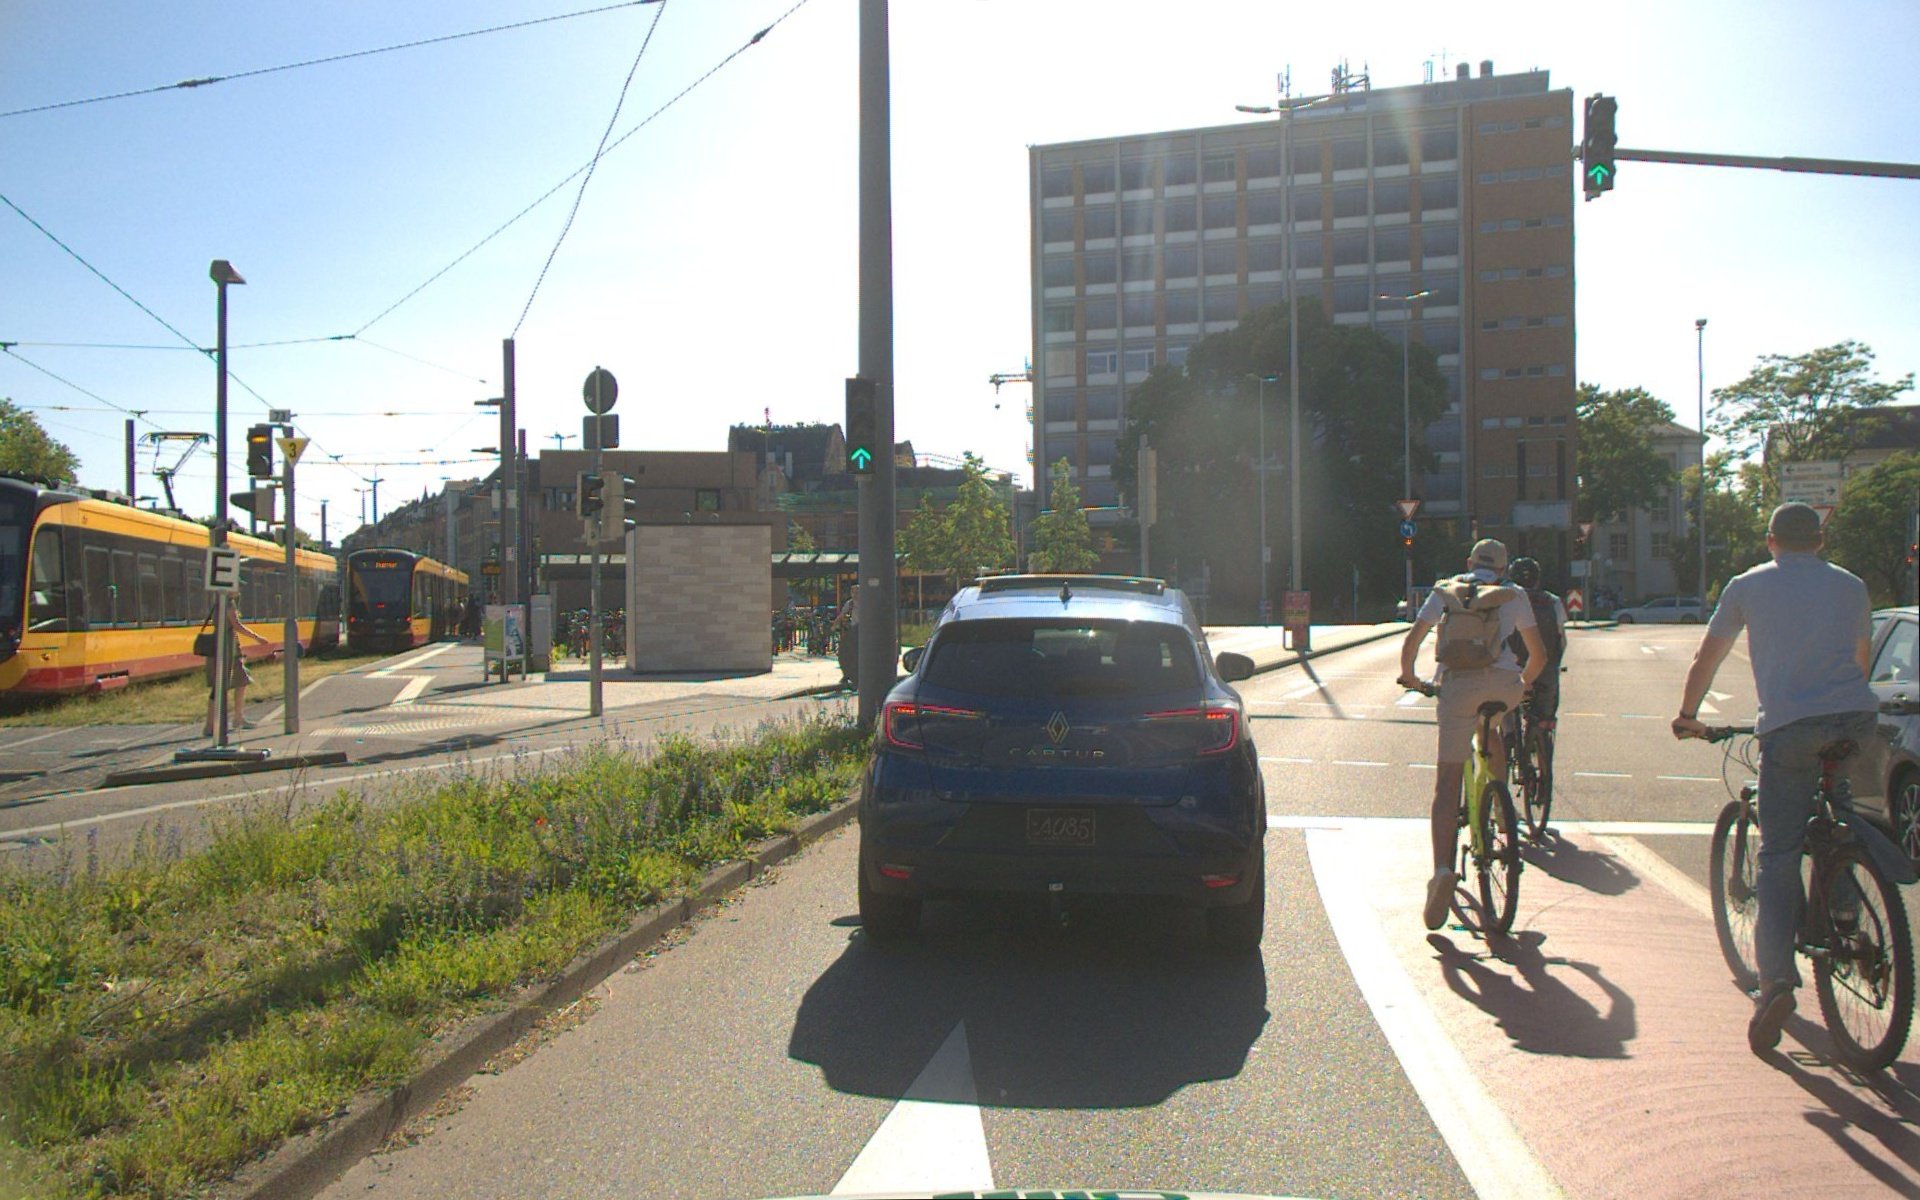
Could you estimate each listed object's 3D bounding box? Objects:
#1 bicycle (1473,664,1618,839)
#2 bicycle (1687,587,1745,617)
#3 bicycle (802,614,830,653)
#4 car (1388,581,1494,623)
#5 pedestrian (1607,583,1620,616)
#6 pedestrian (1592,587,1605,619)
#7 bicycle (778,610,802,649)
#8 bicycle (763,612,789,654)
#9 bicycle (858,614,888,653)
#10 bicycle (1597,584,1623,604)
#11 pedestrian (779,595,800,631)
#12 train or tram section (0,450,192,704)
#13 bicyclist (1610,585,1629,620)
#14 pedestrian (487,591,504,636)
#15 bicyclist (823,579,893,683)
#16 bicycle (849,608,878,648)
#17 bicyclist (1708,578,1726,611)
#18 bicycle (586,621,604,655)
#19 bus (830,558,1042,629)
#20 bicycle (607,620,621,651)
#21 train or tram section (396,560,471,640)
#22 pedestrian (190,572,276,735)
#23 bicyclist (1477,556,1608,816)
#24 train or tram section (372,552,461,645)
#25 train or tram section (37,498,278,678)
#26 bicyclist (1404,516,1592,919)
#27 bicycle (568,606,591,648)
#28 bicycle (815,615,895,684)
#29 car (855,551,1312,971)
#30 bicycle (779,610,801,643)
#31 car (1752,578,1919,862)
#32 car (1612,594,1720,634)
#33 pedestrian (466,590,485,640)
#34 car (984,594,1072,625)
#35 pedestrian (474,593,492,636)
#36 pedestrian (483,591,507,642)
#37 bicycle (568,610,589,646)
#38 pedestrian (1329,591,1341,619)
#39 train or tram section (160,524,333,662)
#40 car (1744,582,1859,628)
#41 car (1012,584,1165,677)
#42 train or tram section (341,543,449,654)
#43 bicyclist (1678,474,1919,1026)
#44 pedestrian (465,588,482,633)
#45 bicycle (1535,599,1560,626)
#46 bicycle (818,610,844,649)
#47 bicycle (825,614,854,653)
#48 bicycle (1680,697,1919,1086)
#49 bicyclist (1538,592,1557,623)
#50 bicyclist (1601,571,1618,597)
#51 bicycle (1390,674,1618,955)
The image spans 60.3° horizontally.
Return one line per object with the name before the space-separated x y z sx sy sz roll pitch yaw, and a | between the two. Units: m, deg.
bicycle | 3.898 0.966 11.130 0.707 0.976 1.885 1 0 13
bicycle | 39.871 0.097 87.278 2.745 1.568 0.883 0 -2 25
bicycle | -3.748 0.864 42.909 0.570 0.978 2.054 1 -1 -9
car | 20.883 0.082 71.806 4.177 1.596 1.812 -2 0 -22
pedestrian | 34.418 -0.022 87.154 0.547 1.699 0.474 -1 -2 36
pedestrian | 34.441 0.170 89.235 0.551 1.699 0.474 -1 -2 36
bicycle | -4.985 0.861 48.549 0.570 1.107 2.054 1 -1 -9
bicycle | -4.742 0.850 42.518 0.570 1.076 1.812 1 -1 -9
bicycle | -2.283 0.880 43.261 0.570 0.978 2.054 1 -1 -9
bicycle | 36.877 -0.362 93.813 1.655 1.112 0.602 -1 0 -39
pedestrian | -8.423 0.656 81.691 0.614 1.772 0.785 -1 -2 37
train or tram section | -15.578 -0.290 28.071 2.771 3.569 10.436 -1 0 -15
bicyclist | 36.023 0.144 90.308 0.840 1.879 0.849 0 -2 30
pedestrian | -19.855 0.590 70.722 0.621 1.889 0.701 1 -1 -11
bicyclist | -1.690 0.514 27.517 0.861 1.673 1.061 -1 -1 13
bicycle | -2.650 0.779 45.293 0.570 1.070 1.968 1 -1 -9
bicyclist | 39.918 -0.295 87.270 0.841 1.721 0.884 0 -2 24
bicycle | -10.461 1.092 47.394 0.415 0.954 1.300 1 -1 -15
bus | -1.417 -0.244 86.738 12.212 3.455 2.868 -1 -2 40
bicycle | -10.970 1.118 52.408 0.414 0.954 1.375 1 -1 -12
train or tram section | -25.028 0.012 78.984 2.823 3.569 10.502 0 0 -14
pedestrian | -8.712 0.614 19.862 0.887 1.882 0.759 -1 2 -22
bicyclist | 3.897 0.546 11.134 0.706 1.654 1.056 1 0 13
train or tram section | -22.472 -0.029 68.823 2.823 3.569 10.502 0 0 -14
train or tram section | -18.115 -0.215 38.153 2.769 3.569 10.573 0 0 -14
bicyclist | 2.521 0.520 7.845 0.649 1.778 1.006 0 0 6
bicycle | -10.501 0.753 45.676 0.556 1.113 2.023 1 -1 -11
bicycle | -1.725 0.806 27.549 0.756 1.099 2.037 -1 -1 13
car | 0.635 0.626 8.372 1.785 1.628 3.661 1 0 5
bicycle | -5.763 0.891 56.010 0.570 1.107 1.866 1 -1 -11
car | 6.436 0.719 10.360 1.719 1.568 3.662 3 0 11
car | 34.621 0.701 81.157 4.572 1.933 1.992 -1 -2 36
pedestrian | -18.365 0.567 62.746 0.593 1.889 0.792 1 -1 -12
car | 3.567 0.518 86.867 4.326 1.548 1.961 -1 -2 38
pedestrian | -21.077 0.631 73.062 0.688 1.889 0.632 1 -1 -12
pedestrian | -17.439 0.629 62.068 0.833 1.916 0.757 1 -2 -16
bicycle | -11.969 0.877 51.960 0.556 1.113 2.023 1 -1 -11
pedestrian | 22.370 0.296 98.636 0.551 1.699 0.474 -1 -2 36
train or tram section | -20.676 -0.157 48.637 2.768 3.569 11.170 0 0 -14
car | 38.413 0.238 75.508 4.564 2.049 1.996 0 -2 31
car | 2.417 0.519 30.169 1.762 1.417 4.095 -1 2 19
train or tram section | -19.893 -0.032 58.759 2.823 3.569 10.502 0 0 -14
bicyclist | 3.075 0.491 5.957 0.733 1.807 1.015 0 0 14
pedestrian | -20.685 0.461 70.275 0.623 1.889 0.699 1 -2 -20
bicycle | 34.466 0.730 97.040 0.865 1.568 2.804 -1 -2 31
bicycle | -3.801 0.870 48.639 0.570 1.107 2.054 1 -1 -9
bicycle | -3.149 0.870 43.006 0.570 0.978 2.054 1 -1 -9
bicycle | 3.109 0.955 6.020 0.598 1.096 1.831 0 0 14
bicyclist | 34.471 0.441 97.039 0.865 1.829 1.158 -1 -2 31
bicyclist | 36.811 -0.917 93.752 0.811 1.469 0.611 -1 0 -39
bicycle | 2.534 0.943 7.903 0.648 1.065 1.892 0 1 6
